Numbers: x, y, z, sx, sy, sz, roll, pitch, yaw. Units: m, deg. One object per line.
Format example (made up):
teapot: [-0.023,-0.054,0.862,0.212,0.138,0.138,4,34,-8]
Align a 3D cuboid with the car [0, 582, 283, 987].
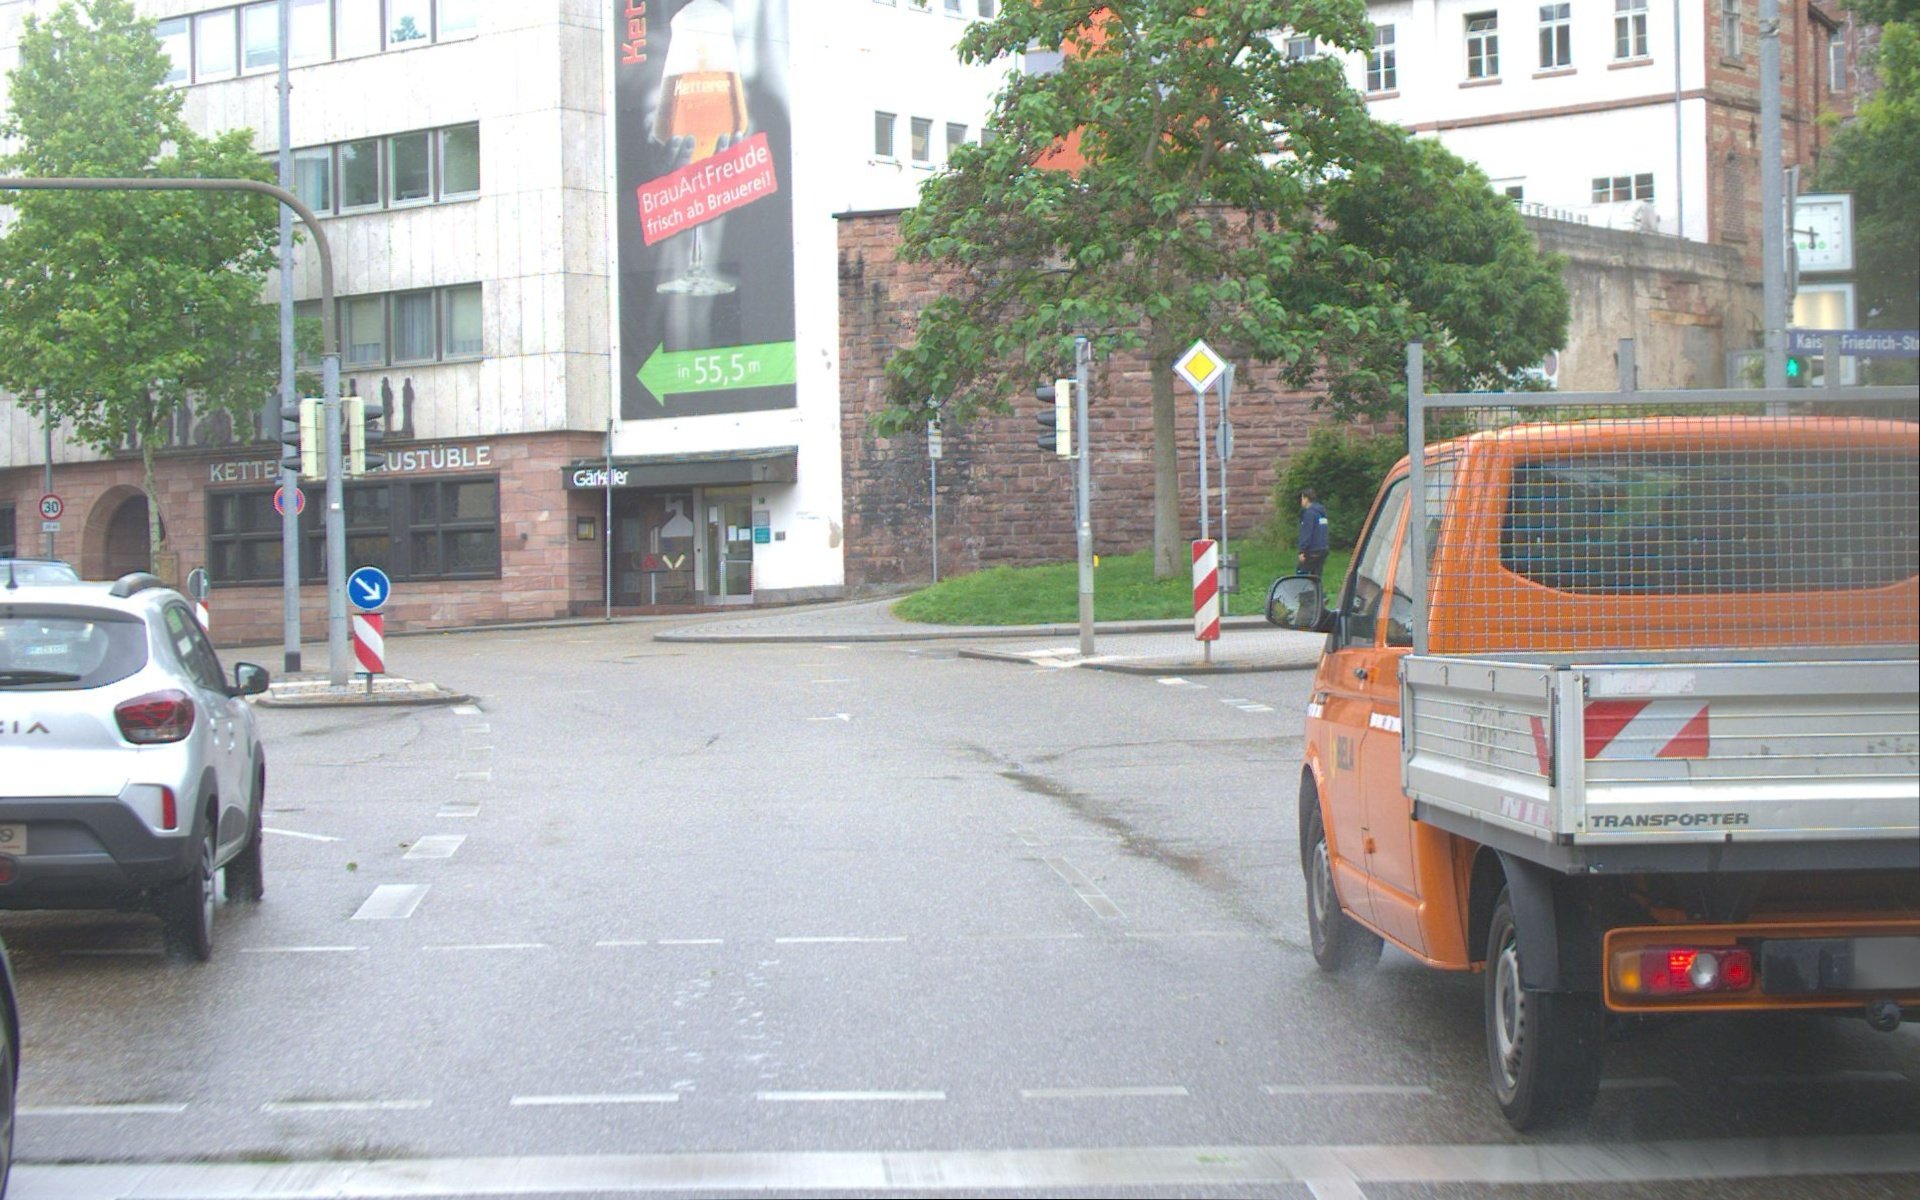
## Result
car: [-3.772,0.669,14.341,1.536,1.456,3.630,-1,1,-6]

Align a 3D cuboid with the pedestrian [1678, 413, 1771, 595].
pedestrian: [8.617,-1.080,38.741,0.786,2.006,0.587,-2,2,35]

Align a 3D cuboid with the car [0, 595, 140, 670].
car: [-17.610,0.641,66.695,1.790,1.398,4.633,0,-1,-34]

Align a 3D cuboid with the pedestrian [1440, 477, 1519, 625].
pedestrian: [6.453,-0.604,42.708,0.879,1.825,0.729,0,-1,1]

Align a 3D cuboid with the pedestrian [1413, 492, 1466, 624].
pedestrian: [5.949,-0.512,42.707,0.566,1.610,0.691,1,-1,2]

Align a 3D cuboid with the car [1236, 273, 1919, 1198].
car: [2.231,0.327,10.555,2.101,2.082,5.542,0,0,-2]

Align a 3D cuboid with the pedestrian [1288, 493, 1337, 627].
pedestrian: [4.744,-0.532,46.282,0.597,1.775,0.656,1,-1,9]

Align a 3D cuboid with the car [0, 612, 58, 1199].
car: [-2.962,0.727,5.878,1.799,1.429,4.397,0,0,-2]
